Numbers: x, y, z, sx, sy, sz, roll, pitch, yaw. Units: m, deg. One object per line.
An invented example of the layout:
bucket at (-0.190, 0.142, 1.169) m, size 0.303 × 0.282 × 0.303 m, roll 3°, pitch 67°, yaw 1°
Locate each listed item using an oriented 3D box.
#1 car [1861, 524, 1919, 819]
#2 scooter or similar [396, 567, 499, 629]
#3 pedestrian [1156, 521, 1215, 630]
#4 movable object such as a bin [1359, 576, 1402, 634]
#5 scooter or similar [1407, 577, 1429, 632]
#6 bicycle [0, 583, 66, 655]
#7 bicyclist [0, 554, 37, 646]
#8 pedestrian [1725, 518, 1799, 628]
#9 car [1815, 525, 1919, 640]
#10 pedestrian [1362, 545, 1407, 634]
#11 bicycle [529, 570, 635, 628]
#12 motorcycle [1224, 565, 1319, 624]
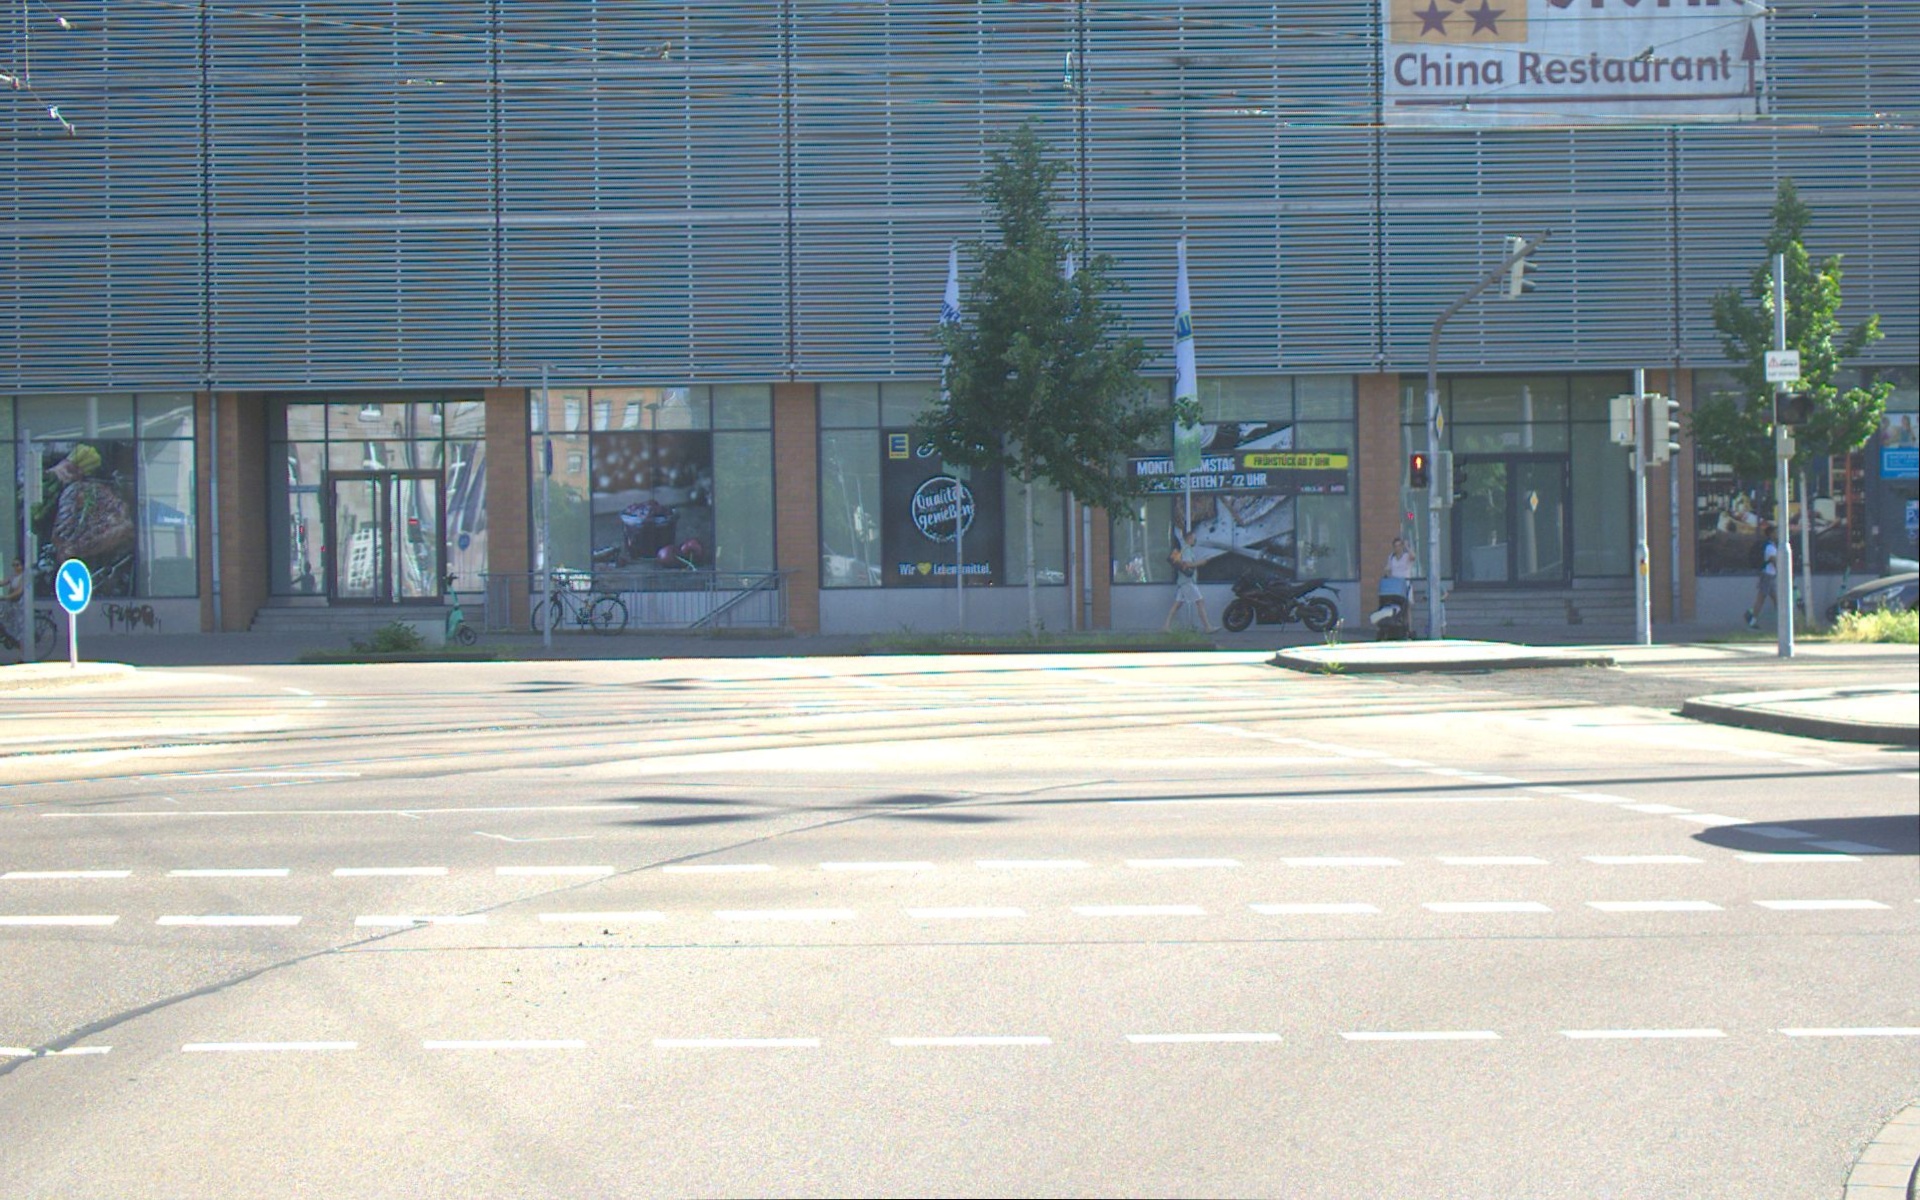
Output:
car at (7.081, 0.361, 17.112) m, size 4.667 × 1.457 × 1.834 m, roll 0°, pitch 1°, yaw -8°
scooter or similar at (-9.082, -0.046, 60.922) m, size 1.792 × 1.062 × 0.613 m, roll 0°, pitch 2°, yaw -8°
pedestrian at (3.917, -0.419, 59.635) m, size 0.950 × 1.822 × 0.845 m, roll -2°, pitch -3°, yaw 5°
movable object such as a bin at (6.709, 0.078, 54.806) m, size 0.613 × 0.901 × 0.968 m, roll 1°, pitch 0°, yaw 10°
scooter or similar at (7.348, 0.074, 55.090) m, size 0.295 × 0.870 × 1.003 m, roll 1°, pitch 0°, yaw 10°
bicycle at (-15.249, 0.311, 54.857) m, size 0.568 × 1.082 × 1.859 m, roll 1°, pitch 3°, yaw 43°
bicyclist at (-15.283, 0.002, 54.777) m, size 0.675 × 1.422 × 0.847 m, roll 1°, pitch 3°, yaw 43°
pedestrian at (13.670, -0.475, 58.612) m, size 1.012 × 1.822 × 1.035 m, roll -2°, pitch 1°, yaw 3°
car at (13.751, -0.144, 45.845) m, size 4.146 × 1.464 × 1.841 m, roll 3°, pitch 0°, yaw -1°
pedestrian at (6.827, -0.178, 55.267) m, size 0.655 × 1.409 × 0.849 m, roll 1°, pitch 0°, yaw 10°
bicycle at (-6.653, -0.017, 60.539) m, size 1.815 × 0.986 × 0.558 m, roll -1°, pitch 2°, yaw -10°
motorcycle at (5.490, -0.102, 60.633) m, size 1.640 × 1.001 × 0.446 m, roll 1°, pitch 1°, yaw 6°
